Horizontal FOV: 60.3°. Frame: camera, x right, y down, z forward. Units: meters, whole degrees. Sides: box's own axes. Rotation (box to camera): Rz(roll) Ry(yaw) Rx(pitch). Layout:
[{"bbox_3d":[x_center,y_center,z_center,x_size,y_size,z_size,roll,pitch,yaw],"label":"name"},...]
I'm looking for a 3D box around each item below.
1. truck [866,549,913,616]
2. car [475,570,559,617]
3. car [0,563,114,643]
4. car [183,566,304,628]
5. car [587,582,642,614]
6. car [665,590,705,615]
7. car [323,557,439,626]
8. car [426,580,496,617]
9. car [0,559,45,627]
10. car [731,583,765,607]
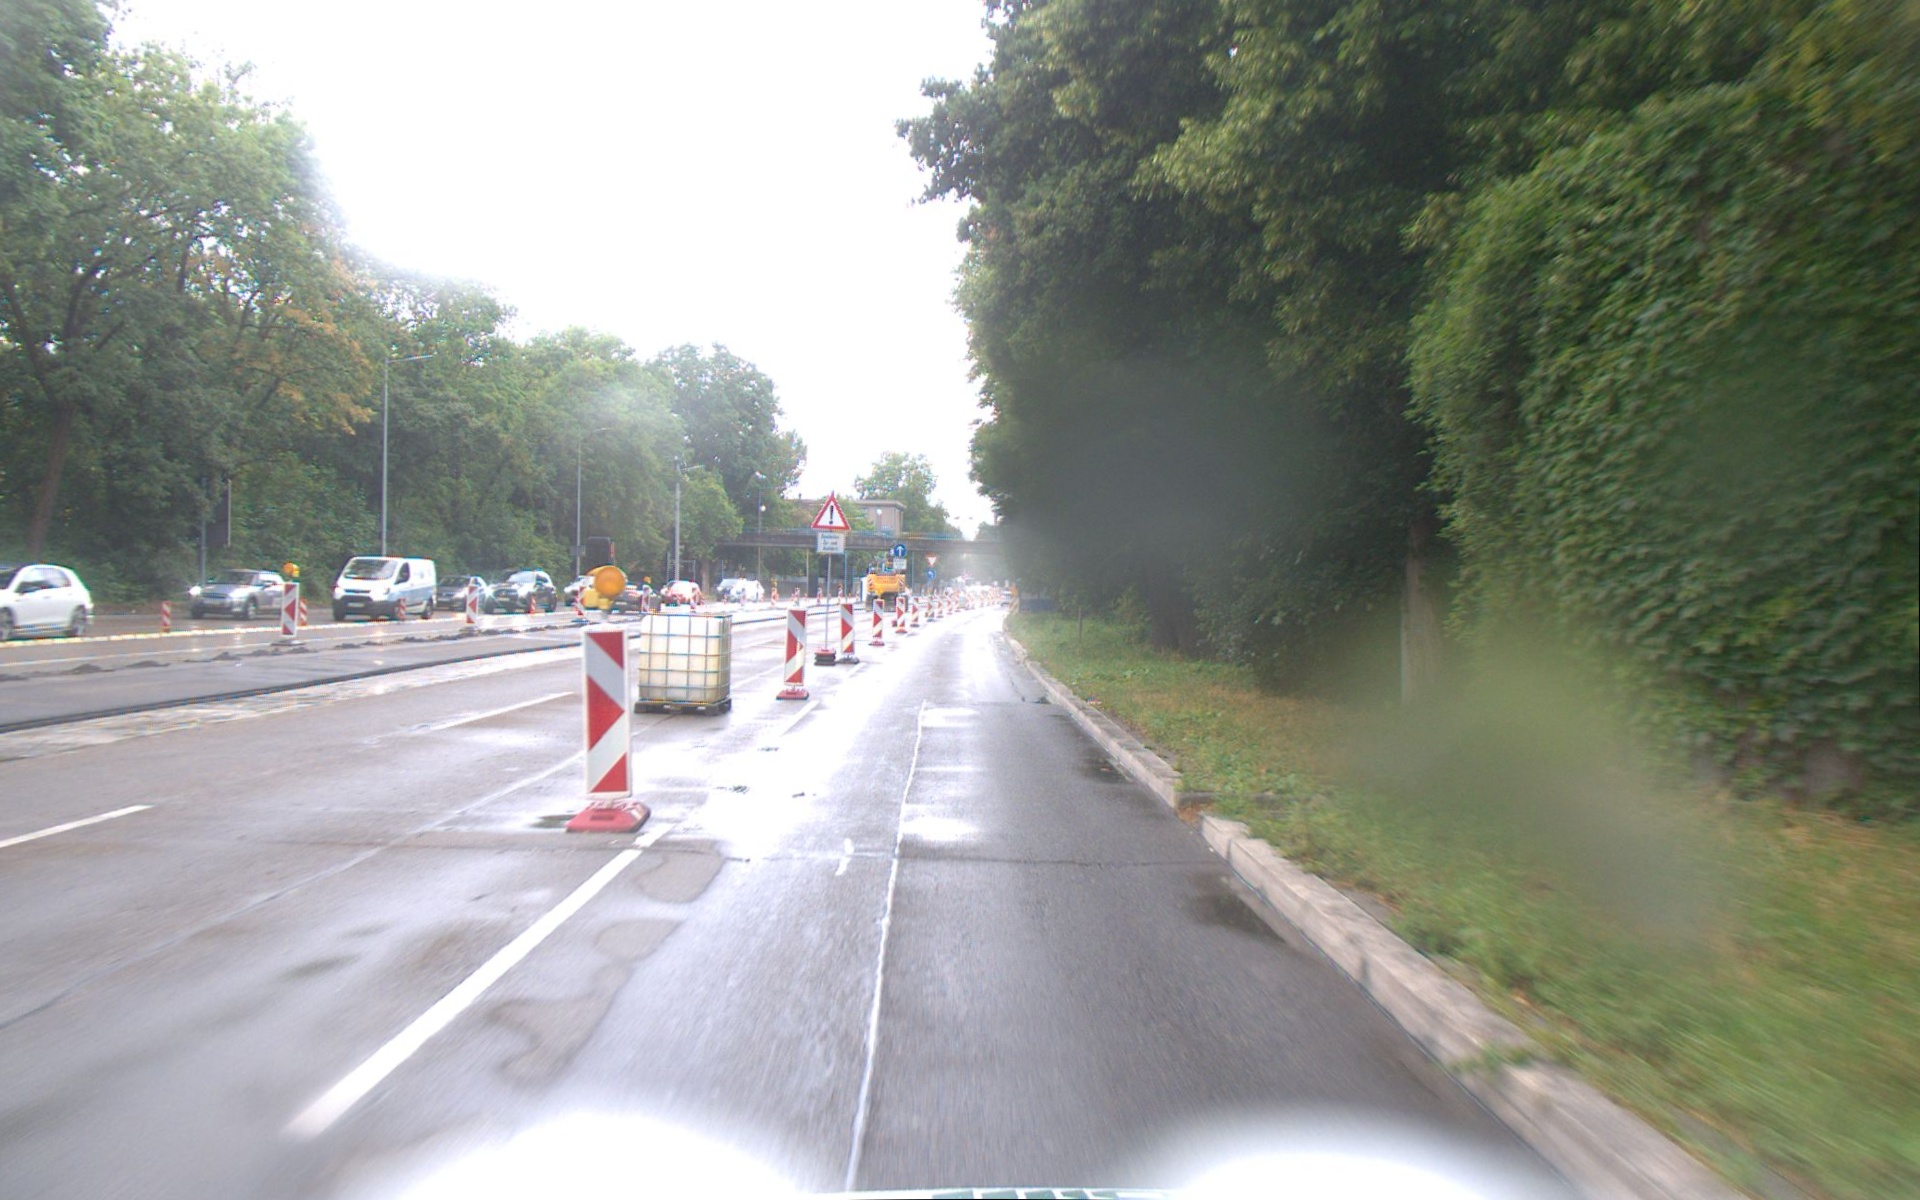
[{"bbox_3d":[-4.822,-1.185,114.857,2.839,4.333,10.753,2,0,-1],"label":"truck"},{"bbox_3d":[-18.037,-0.272,67.643,1.980,1.755,5.013,2,0,0],"label":"car"},{"bbox_3d":[-18.321,0.054,31.654,1.952,1.440,4.393,1,0,0],"label":"car"},{"bbox_3d":[-20.892,-0.078,48.408,1.790,1.650,3.999,2,0,-1],"label":"car"},{"bbox_3d":[-17.273,-0.090,82.939,1.740,1.513,4.197,2,0,1],"label":"car"},{"bbox_3d":[-16.737,0.135,100.760,1.644,1.425,4.013,2,0,1],"label":"car"},{"bbox_3d":[-18.124,-0.269,52.034,1.953,2.006,4.901,2,0,-2],"label":"car"},{"bbox_3d":[-20.607,-0.065,68.465,1.611,1.445,4.000,2,0,1],"label":"car"},{"bbox_3d":[-21.103,-0.177,34.761,1.644,1.425,3.639,2,0,1],"label":"car"},{"bbox_3d":[-15.793,-0.389,123.457,1.851,1.690,4.893,2,0,0],"label":"car"}]
